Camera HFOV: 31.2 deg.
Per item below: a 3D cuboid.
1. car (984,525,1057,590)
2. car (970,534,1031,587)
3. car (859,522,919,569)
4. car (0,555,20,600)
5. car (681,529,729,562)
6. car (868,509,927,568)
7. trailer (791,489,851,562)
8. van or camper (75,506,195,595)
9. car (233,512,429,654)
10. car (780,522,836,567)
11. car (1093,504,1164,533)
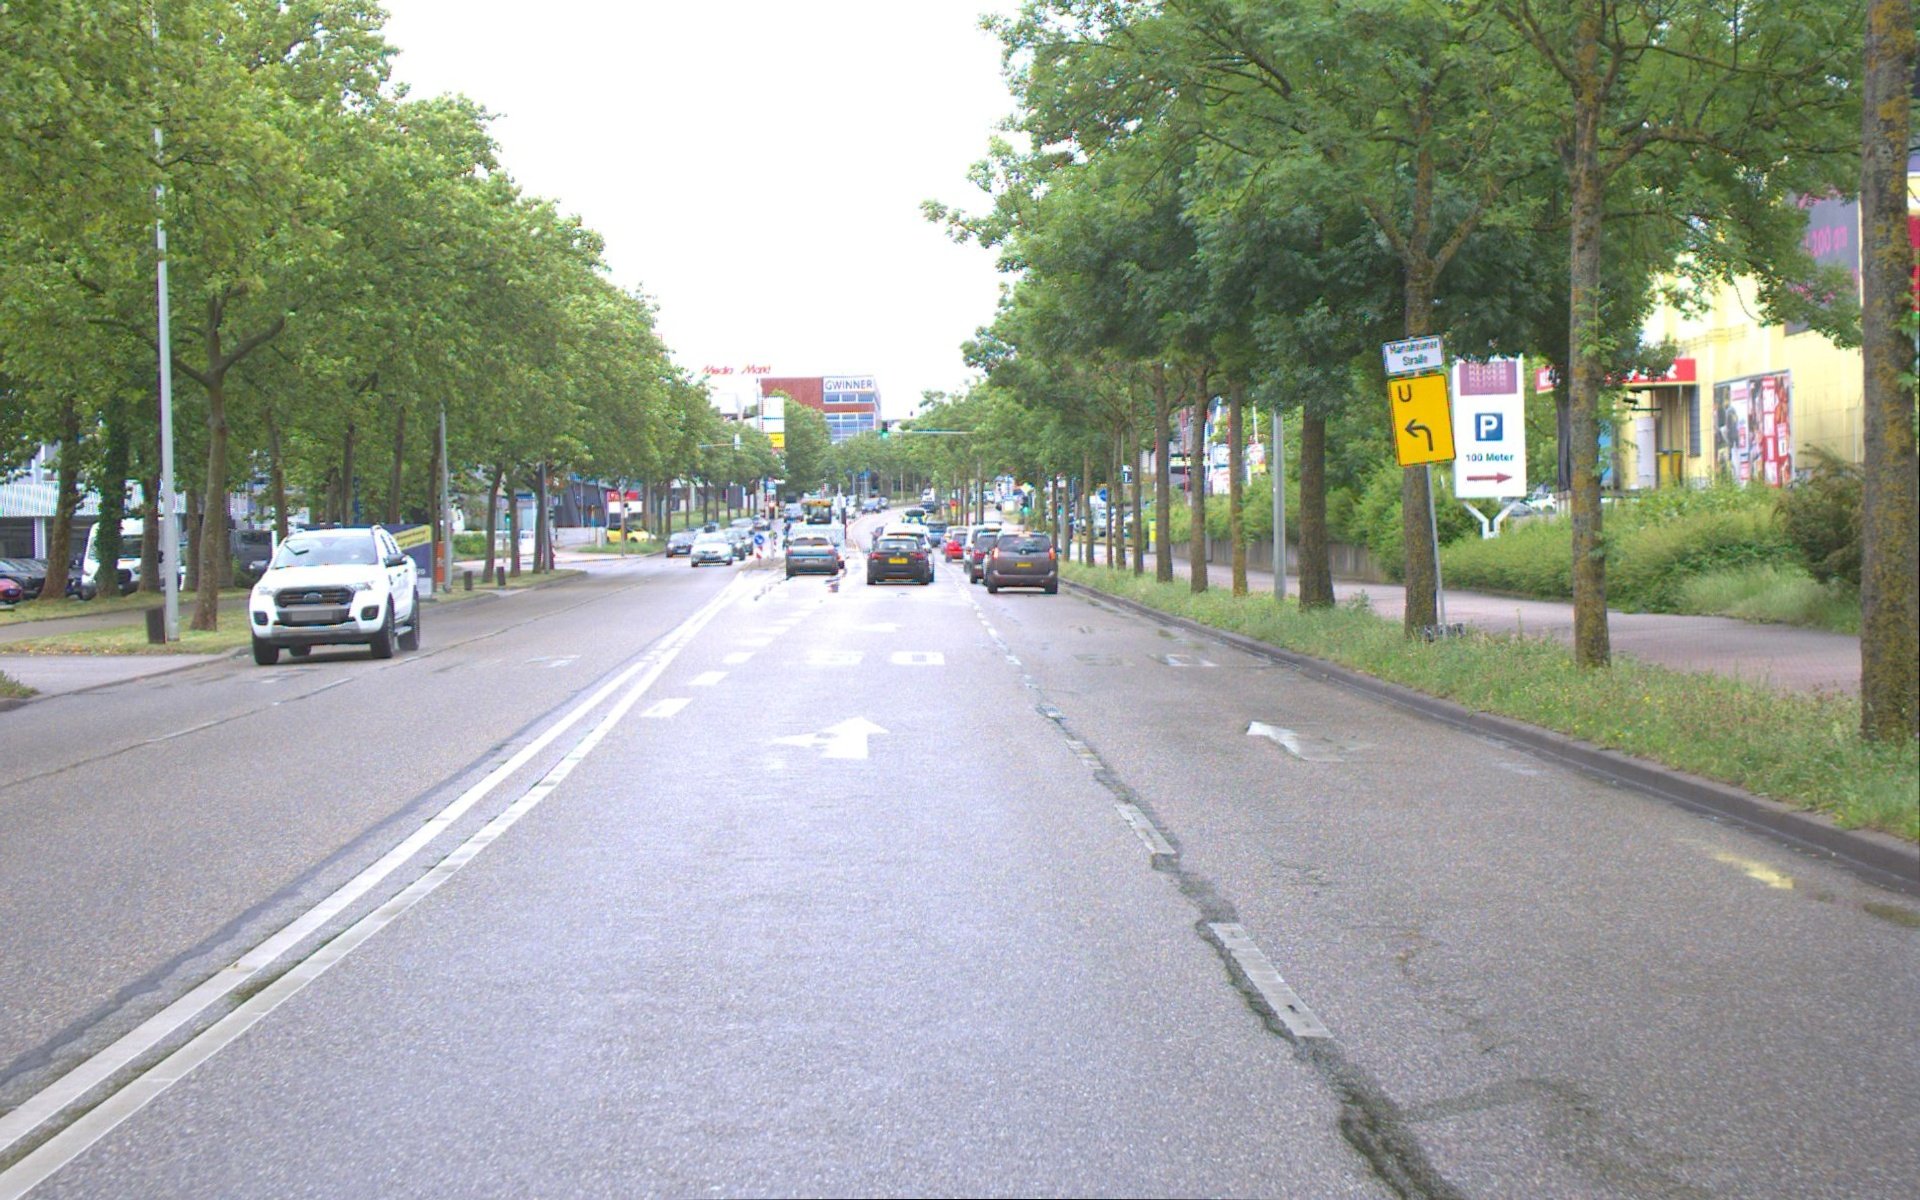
[{"bbox_3d":[1.561,-1.135,90.068,1.726,1.618,4.471,-1,1,-1],"label":"car"},{"bbox_3d":[1.265,-1.285,109.311,1.801,1.581,4.451,1,2,-1],"label":"car"},{"bbox_3d":[-2.156,-1.654,103.516,1.781,1.393,4.001,0,1,-2],"label":"car"},{"bbox_3d":[-33.196,-0.718,113.288,3.989,1.462,1.599,-1,1,11],"label":"car"},{"bbox_3d":[-11.721,-2.494,157.878,1.993,1.424,4.686,-2,1,-6],"label":"car"},{"bbox_3d":[-2.179,-2.134,119.878,1.993,2.007,4.000,1,1,-1],"label":"car"},{"bbox_3d":[-5.732,-3.069,141.683,2.372,2.887,5.546,-1,1,-2],"label":"trailer"},{"bbox_3d":[-23.636,-1.440,98.689,1.993,2.462,6.402,0,1,-1],"label":"van or camper"},{"bbox_3d":[-8.747,-0.284,48.230,1.911,1.799,5.342,-2,1,-2],"label":"car"},{"bbox_3d":[-5.578,-2.045,126.704,1.907,1.573,4.881,-2,1,-1],"label":"car"},{"bbox_3d":[9.922,-4.781,201.790,1.930,1.571,4.278,0,2,40],"label":"car"}]
